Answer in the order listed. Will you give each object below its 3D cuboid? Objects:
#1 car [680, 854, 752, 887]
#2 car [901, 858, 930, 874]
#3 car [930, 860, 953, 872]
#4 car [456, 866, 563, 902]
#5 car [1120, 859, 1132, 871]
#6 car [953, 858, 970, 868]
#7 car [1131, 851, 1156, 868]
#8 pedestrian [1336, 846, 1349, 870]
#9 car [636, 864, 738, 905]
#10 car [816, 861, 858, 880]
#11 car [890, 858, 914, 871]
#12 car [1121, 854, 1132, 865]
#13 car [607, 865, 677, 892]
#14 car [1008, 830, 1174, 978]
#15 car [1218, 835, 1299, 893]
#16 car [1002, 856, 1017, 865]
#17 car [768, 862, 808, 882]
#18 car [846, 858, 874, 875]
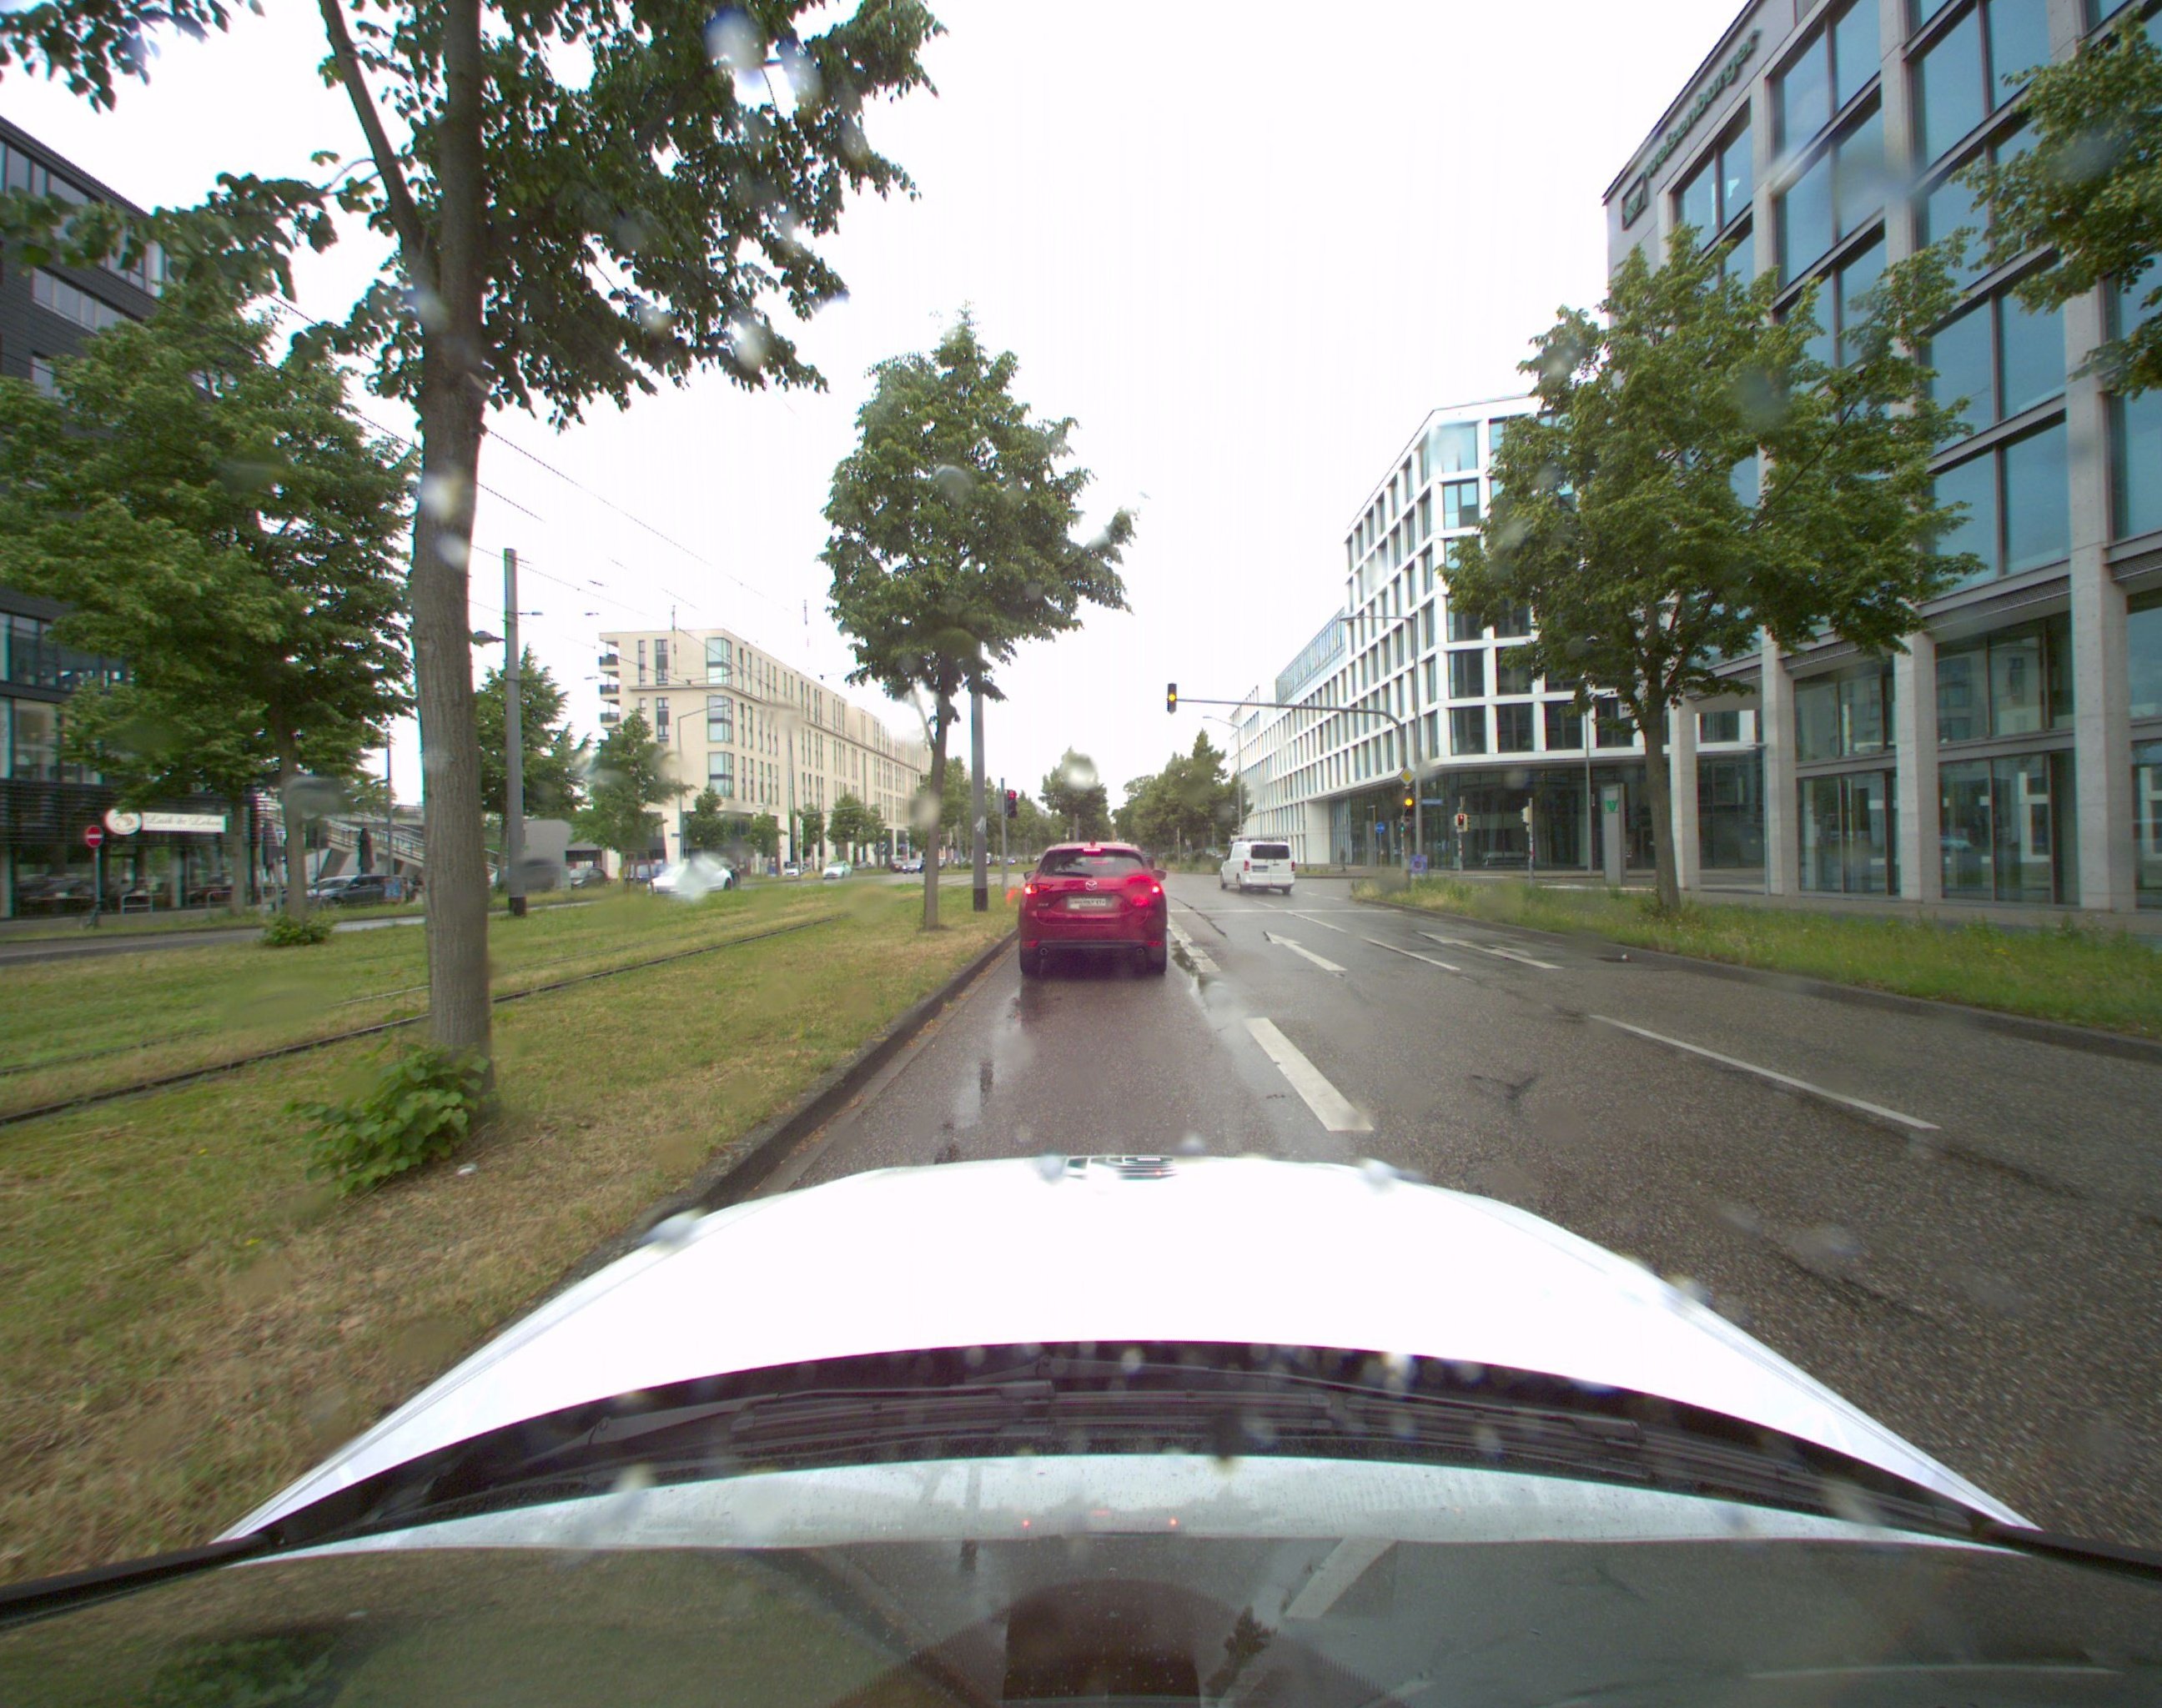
[{"bbox_3d":[-19.650,0.854,44.051,1.987,1.618,4.000,-1,0,0],"label":"car"},{"bbox_3d":[-16.773,1.201,82.653,1.987,1.484,4.446,-1,0,0],"label":"car"},{"bbox_3d":[-18.275,1.516,106.852,1.985,1.484,4.449,-1,0,3],"label":"car"},{"bbox_3d":[-26.678,1.365,38.225,1.988,1.484,4.442,-1,0,-2],"label":"car"},{"bbox_3d":[7.887,1.927,141.665,1.986,2.013,4.002,-1,0,2],"label":"car"},{"bbox_3d":[-19.146,1.422,130.716,1.985,1.484,4.448,-1,0,2],"label":"car"},{"bbox_3d":[5.478,0.481,71.689,1.739,1.465,3.778,-1,0,-2],"label":"car"},{"bbox_3d":[18.979,0.310,59.053,0.675,1.707,0.784,-1,0,0],"label":"pedestrian"},{"bbox_3d":[-16.265,1.214,33.923,1.986,1.484,4.447,-1,0,1],"label":"car"},{"bbox_3d":[-20.164,1.342,67.469,1.986,1.484,4.447,-1,0,1],"label":"car"},{"bbox_3d":[-22.093,1.295,100.565,1.988,1.484,4.443,-1,0,-1],"label":"car"},{"bbox_3d":[9.201,1.119,164.718,1.986,2.013,4.002,-1,0,2],"label":"car"},{"bbox_3d":[-26.870,1.459,50.038,1.988,1.484,4.442,-1,0,-2],"label":"car"},{"bbox_3d":[0.174,0.568,11.399,1.891,1.677,4.001,-1,0,1],"label":"car"},{"bbox_3d":[6.572,0.371,30.692,1.961,1.979,5.091,-1,0,0],"label":"car"},{"bbox_3d":[-12.035,1.100,137.451,1.987,1.484,4.446,-1,0,1],"label":"car"},{"bbox_3d":[-25.731,1.590,71.642,1.987,1.618,4.000,-1,0,0],"label":"car"},{"bbox_3d":[-24.931,1.396,92.131,1.986,1.838,4.001,-1,0,1],"label":"car"}]
